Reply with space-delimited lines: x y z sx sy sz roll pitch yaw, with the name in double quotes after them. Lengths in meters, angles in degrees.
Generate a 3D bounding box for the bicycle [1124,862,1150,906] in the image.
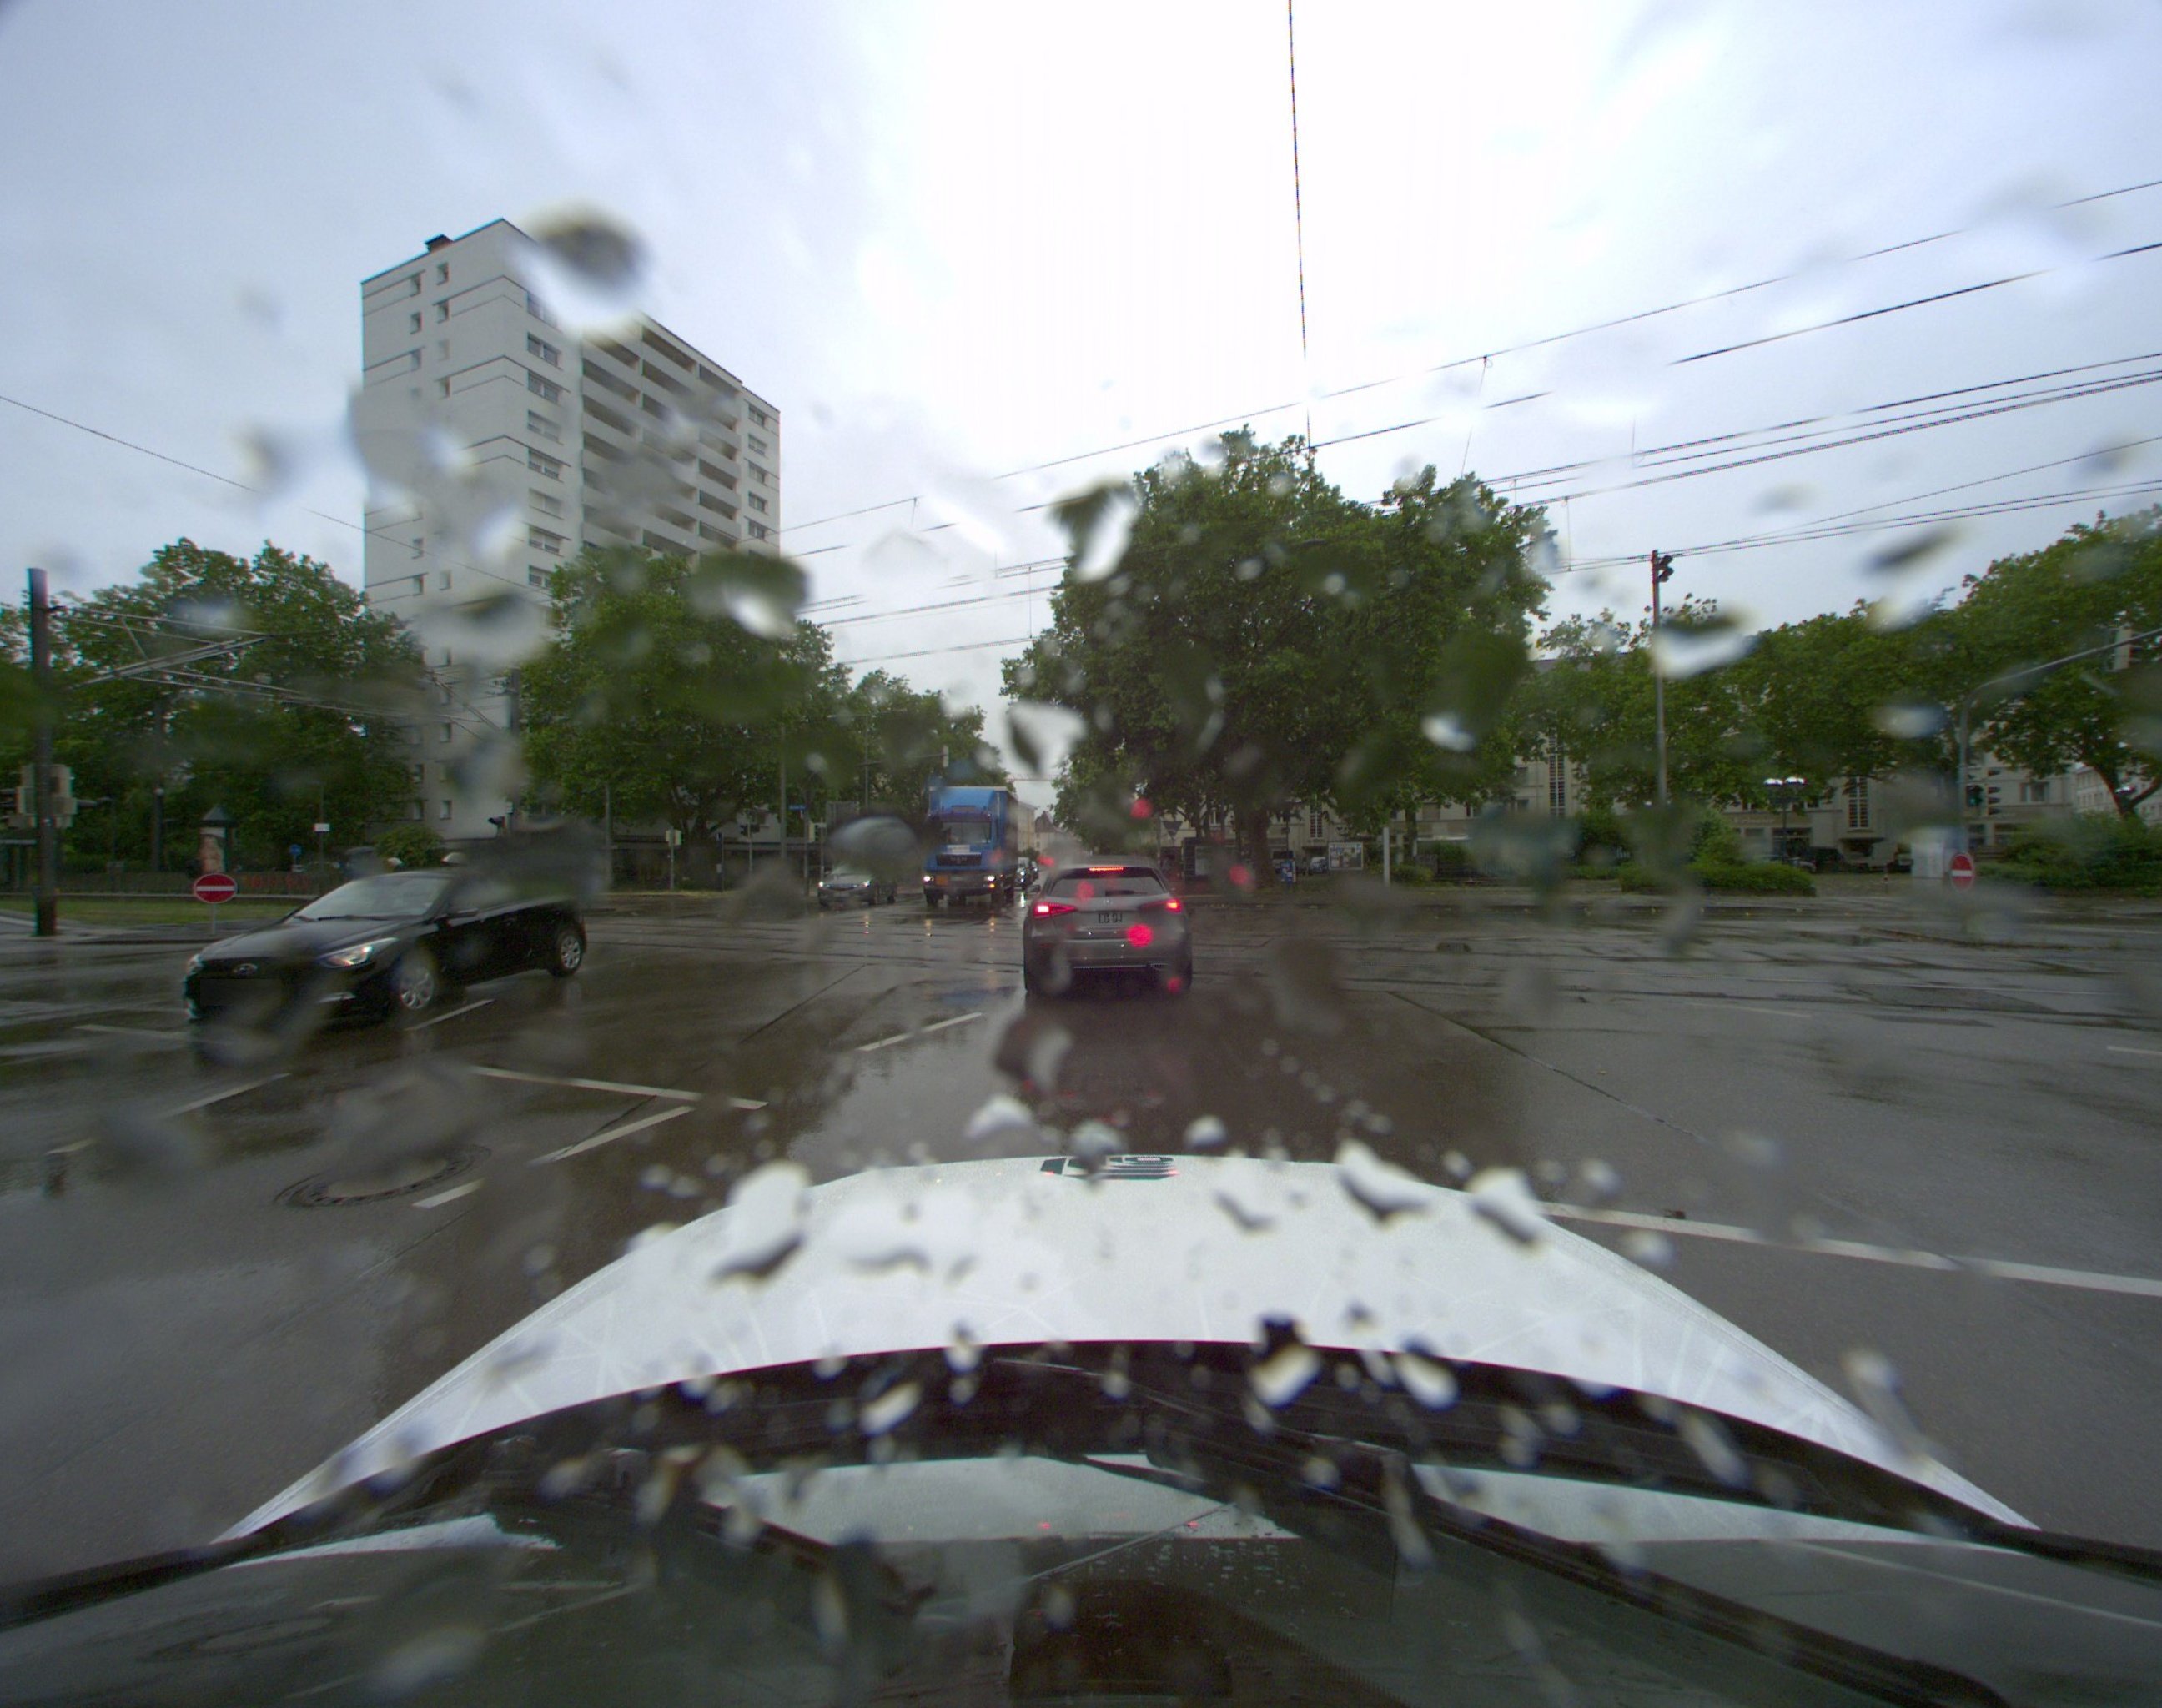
1.900 0.967 27.434 0.745 1.377 2.711 -2 0 6 "bicycle"

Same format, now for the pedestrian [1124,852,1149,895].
1.865 0.638 27.133 0.740 1.398 1.049 -2 -1 5 "pedestrian"

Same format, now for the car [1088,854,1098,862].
2.625 0.864 179.112 2.038 1.836 4.795 -1 -1 3 "car"

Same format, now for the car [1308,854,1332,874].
19.673 0.831 67.013 1.665 1.575 3.754 -1 -1 19 "car"

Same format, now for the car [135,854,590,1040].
-7.365 0.806 8.964 1.739 1.546 3.774 -2 0 -3 "car"

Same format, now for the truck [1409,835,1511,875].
26.693 0.111 57.664 6.326 2.699 2.279 -1 -1 19 "truck"

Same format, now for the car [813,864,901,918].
-7.189 1.133 26.546 1.722 1.546 4.337 -2 0 -2 "car"

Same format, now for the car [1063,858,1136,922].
0.370 0.808 20.127 1.603 1.372 3.998 -2 0 -1 "car"

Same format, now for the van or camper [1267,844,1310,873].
17.511 0.384 68.471 2.374 2.231 5.461 -1 -1 26 "van or camper"

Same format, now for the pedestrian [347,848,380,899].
-26.365 0.724 29.937 0.671 1.838 0.643 -2 -1 21 "pedestrian"

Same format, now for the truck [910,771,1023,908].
-3.781 -0.414 29.526 2.838 4.025 10.308 -2 0 -2 "truck"

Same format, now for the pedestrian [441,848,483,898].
-21.020 0.629 27.663 0.807 1.648 0.798 -2 -1 21 "pedestrian"

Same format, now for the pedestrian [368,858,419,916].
-20.201 0.971 23.944 0.829 1.648 0.759 -2 -1 14 "pedestrian"

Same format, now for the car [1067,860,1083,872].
-0.864 1.686 110.603 1.989 1.574 3.996 -1 -1 -2 "car"

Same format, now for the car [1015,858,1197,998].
0.215 0.743 9.788 1.786 1.372 3.504 0 0 -1 "car"

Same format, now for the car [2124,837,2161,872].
51.455 0.009 37.671 1.977 1.618 4.018 -1 -1 18 "car"

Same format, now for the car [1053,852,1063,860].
-5.276 0.416 186.335 1.882 1.836 4.002 -1 -1 2 "car"

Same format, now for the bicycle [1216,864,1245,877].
12.014 1.328 65.444 2.227 0.968 0.588 -1 -1 21 "bicycle"

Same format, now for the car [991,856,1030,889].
-3.598 0.926 42.149 1.737 1.604 3.998 -1 -1 -1 "car"

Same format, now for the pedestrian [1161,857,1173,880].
6.182 1.027 58.529 0.716 1.669 0.663 -1 -1 -9 "pedestrian"

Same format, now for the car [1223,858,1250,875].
13.303 1.063 69.687 1.568 1.337 3.279 -2 -3 23 "car"

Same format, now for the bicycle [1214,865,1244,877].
11.774 1.352 64.788 2.232 0.968 0.537 -1 -1 21 "bicycle"

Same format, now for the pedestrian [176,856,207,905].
-38.310 1.127 35.085 0.694 2.077 0.640 -1 -1 17 "pedestrian"

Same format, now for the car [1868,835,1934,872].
53.514 0.002 53.217 1.535 2.204 4.120 -1 -3 23 "car"

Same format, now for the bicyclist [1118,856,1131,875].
4.513 1.205 84.243 0.941 1.868 1.135 -1 -2 -20 "bicyclist"
